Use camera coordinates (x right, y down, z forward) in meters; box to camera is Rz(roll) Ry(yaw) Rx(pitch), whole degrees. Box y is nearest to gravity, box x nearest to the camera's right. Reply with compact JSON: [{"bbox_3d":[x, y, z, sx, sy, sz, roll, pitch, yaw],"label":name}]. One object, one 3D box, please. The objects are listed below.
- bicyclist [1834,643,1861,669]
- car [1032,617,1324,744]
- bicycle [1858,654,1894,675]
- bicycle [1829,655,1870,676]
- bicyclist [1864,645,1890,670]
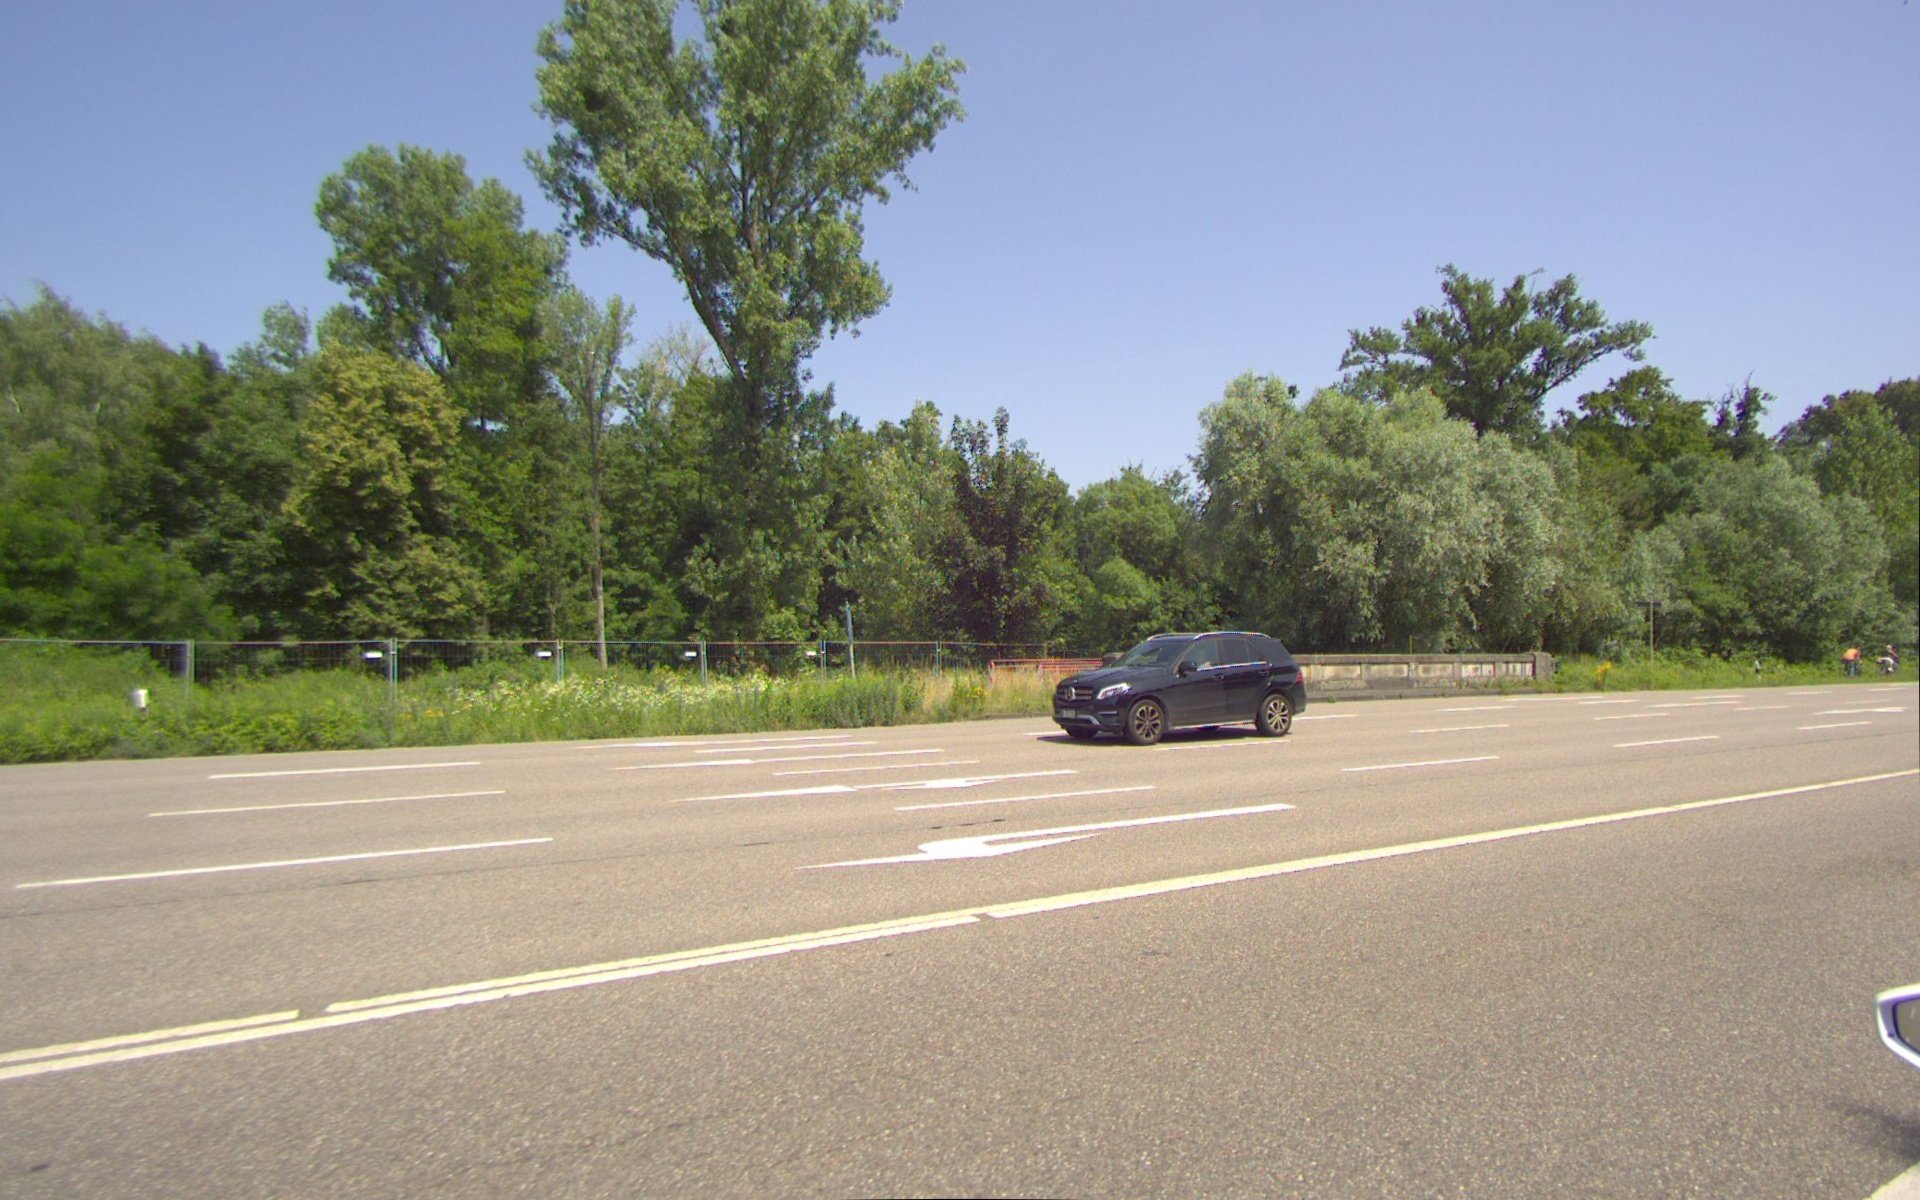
[{"bbox_3d":[42.947,2.708,48.601,0.583,1.211,0.757,1,-3,-19],"label":"bicyclist"},{"bbox_3d":[3.802,1.320,17.294,4.902,1.906,1.984,2,-3,-31],"label":"car"},{"bbox_3d":[45.365,3.183,49.739,1.531,1.019,0.604,1,-3,-19],"label":"bicycle"},{"bbox_3d":[43.064,3.170,48.625,1.773,1.018,0.675,1,-3,-20],"label":"bicycle"},{"bbox_3d":[45.447,2.832,49.774,0.582,1.211,0.735,1,-3,-18],"label":"bicyclist"}]
